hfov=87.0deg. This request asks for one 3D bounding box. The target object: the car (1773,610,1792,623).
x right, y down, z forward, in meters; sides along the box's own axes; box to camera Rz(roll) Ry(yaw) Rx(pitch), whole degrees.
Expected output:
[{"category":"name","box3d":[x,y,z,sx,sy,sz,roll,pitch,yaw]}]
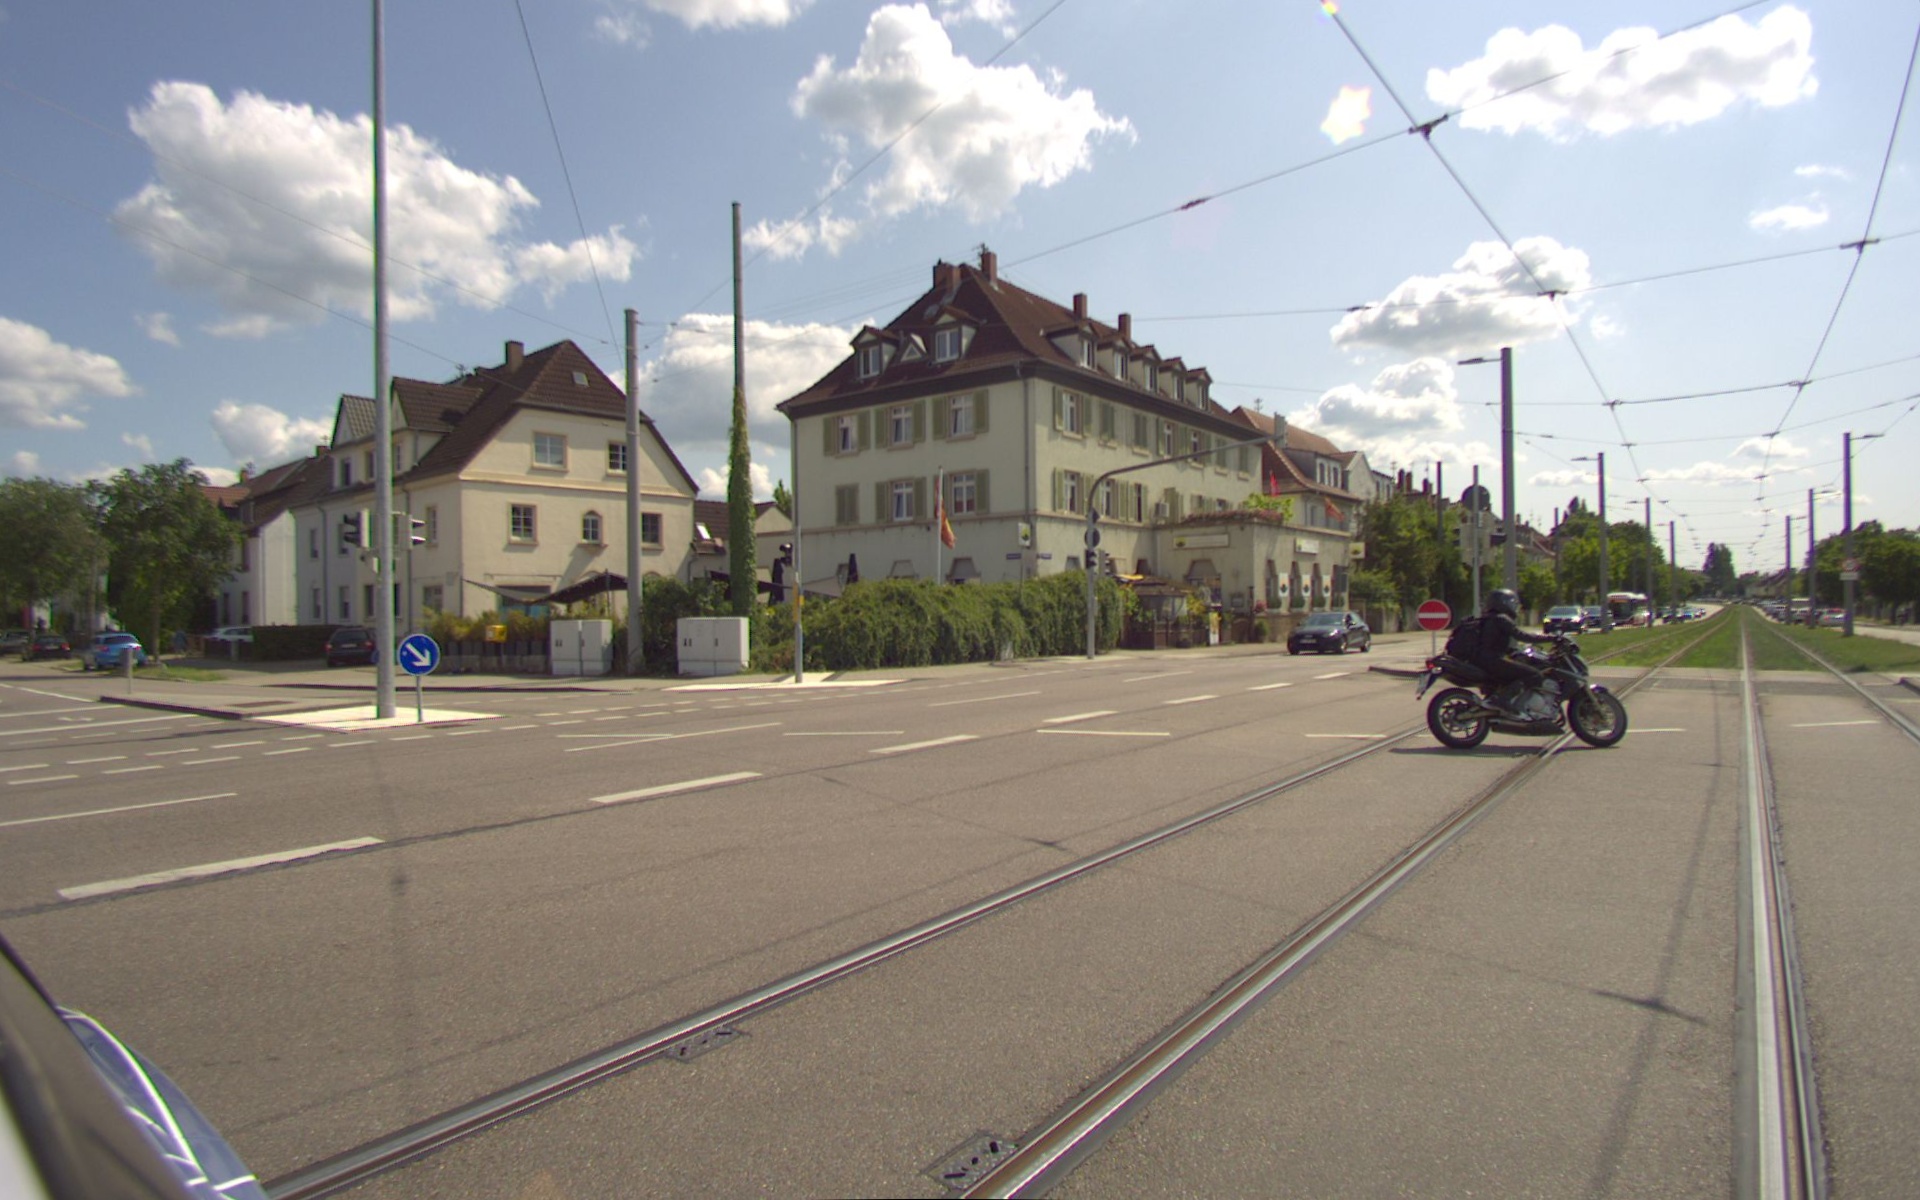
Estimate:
[{"category":"car","box3d":[113.892,2.275,140.147,1.802,1.730,3.944,-2,-1,43]}]

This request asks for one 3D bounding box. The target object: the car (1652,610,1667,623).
[{"category":"car","box3d":[112.184,2.622,162.294,1.995,2.029,3.953,-2,-1,35]}]

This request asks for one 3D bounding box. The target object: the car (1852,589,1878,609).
[{"category":"car","box3d":[96.934,-0.066,108.350,2.000,2.029,3.943,-2,-2,43]}]

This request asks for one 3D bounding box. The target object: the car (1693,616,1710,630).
[{"category":"car","box3d":[113.164,3.506,154.435,1.997,2.029,3.950,-2,-1,37]}]

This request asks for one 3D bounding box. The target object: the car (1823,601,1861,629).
[{"category":"car","box3d":[66.138,1.103,75.876,2.000,2.029,3.944,-2,-2,43]}]

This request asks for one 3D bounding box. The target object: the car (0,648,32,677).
[{"category":"car","box3d":[-58.673,3.858,62.728,3.574,1.667,1.541,-2,-1,44]}]

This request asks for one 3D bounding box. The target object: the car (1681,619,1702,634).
[{"category":"car","box3d":[99.817,3.634,138.088,1.999,2.029,3.946,-2,-1,40]}]

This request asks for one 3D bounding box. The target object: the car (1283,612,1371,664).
[{"category":"car","box3d":[12.376,1.247,34.024,1.744,1.596,3.876,-2,-1,37]}]

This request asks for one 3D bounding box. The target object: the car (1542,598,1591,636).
[{"category":"car","box3d":[33.060,0.896,55.114,1.902,2.029,3.668,-1,0,37]}]

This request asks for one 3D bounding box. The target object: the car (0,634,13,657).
[{"category":"car","box3d":[-63.570,2.999,66.743,1.601,1.436,3.004,-1,0,-43]}]

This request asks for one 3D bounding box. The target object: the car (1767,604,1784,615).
[{"category":"car","box3d":[132.969,1.618,164.985,1.802,1.730,3.944,-2,-1,43]}]

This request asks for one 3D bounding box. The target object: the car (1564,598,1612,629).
[{"category":"car","box3d":[41.882,0.880,67.439,2.000,2.029,3.944,-2,-1,43]}]

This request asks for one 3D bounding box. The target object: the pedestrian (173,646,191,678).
[{"category":"pedestrian","box3d":[-38.632,3.048,50.241,0.618,1.547,0.623,-2,-1,42]}]

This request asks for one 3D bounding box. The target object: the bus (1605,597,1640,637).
[{"category":"bus","box3d":[67.181,1.640,102.540,2.396,3.805,11.877,-1,0,36]}]

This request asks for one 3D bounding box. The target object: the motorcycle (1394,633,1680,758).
[{"category":"motorcycle","box3d":[5.720,0.931,10.146,2.326,1.136,0.844,-1,-1,1]}]

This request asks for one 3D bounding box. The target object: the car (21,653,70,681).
[{"category":"car","box3d":[-48.511,3.528,53.654,3.919,1.306,1.686,-2,-1,44]}]

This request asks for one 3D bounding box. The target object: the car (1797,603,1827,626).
[{"category":"car","box3d":[80.896,1.366,96.099,2.000,2.029,3.944,-2,-2,43]}]

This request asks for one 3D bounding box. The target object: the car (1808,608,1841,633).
[{"category":"car","box3d":[74.806,1.758,87.517,2.000,2.029,3.944,-2,-2,43]}]

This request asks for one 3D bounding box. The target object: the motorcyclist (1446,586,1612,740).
[{"category":"motorcyclist","box3d":[5.681,0.614,10.163,1.085,1.409,0.825,-4,-1,0]}]

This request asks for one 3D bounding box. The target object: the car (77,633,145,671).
[{"category":"car","box3d":[-35.131,2.124,41.869,3.153,1.473,1.687,-2,-1,41]}]

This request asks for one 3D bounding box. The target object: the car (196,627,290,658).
[{"category":"car","box3d":[-37.500,2.189,52.982,1.711,1.465,3.754,-2,-1,44]}]

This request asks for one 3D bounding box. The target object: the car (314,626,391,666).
[{"category":"car","box3d":[-23.479,1.748,39.234,1.732,1.397,4.115,-1,-1,-19]}]

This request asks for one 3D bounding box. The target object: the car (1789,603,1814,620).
[{"category":"car","box3d":[89.284,1.244,107.381,1.802,1.730,3.944,-2,-2,43]}]

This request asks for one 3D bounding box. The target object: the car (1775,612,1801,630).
[{"category":"car","box3d":[96.030,2.466,117.369,2.000,2.029,3.944,-2,-2,43]}]
